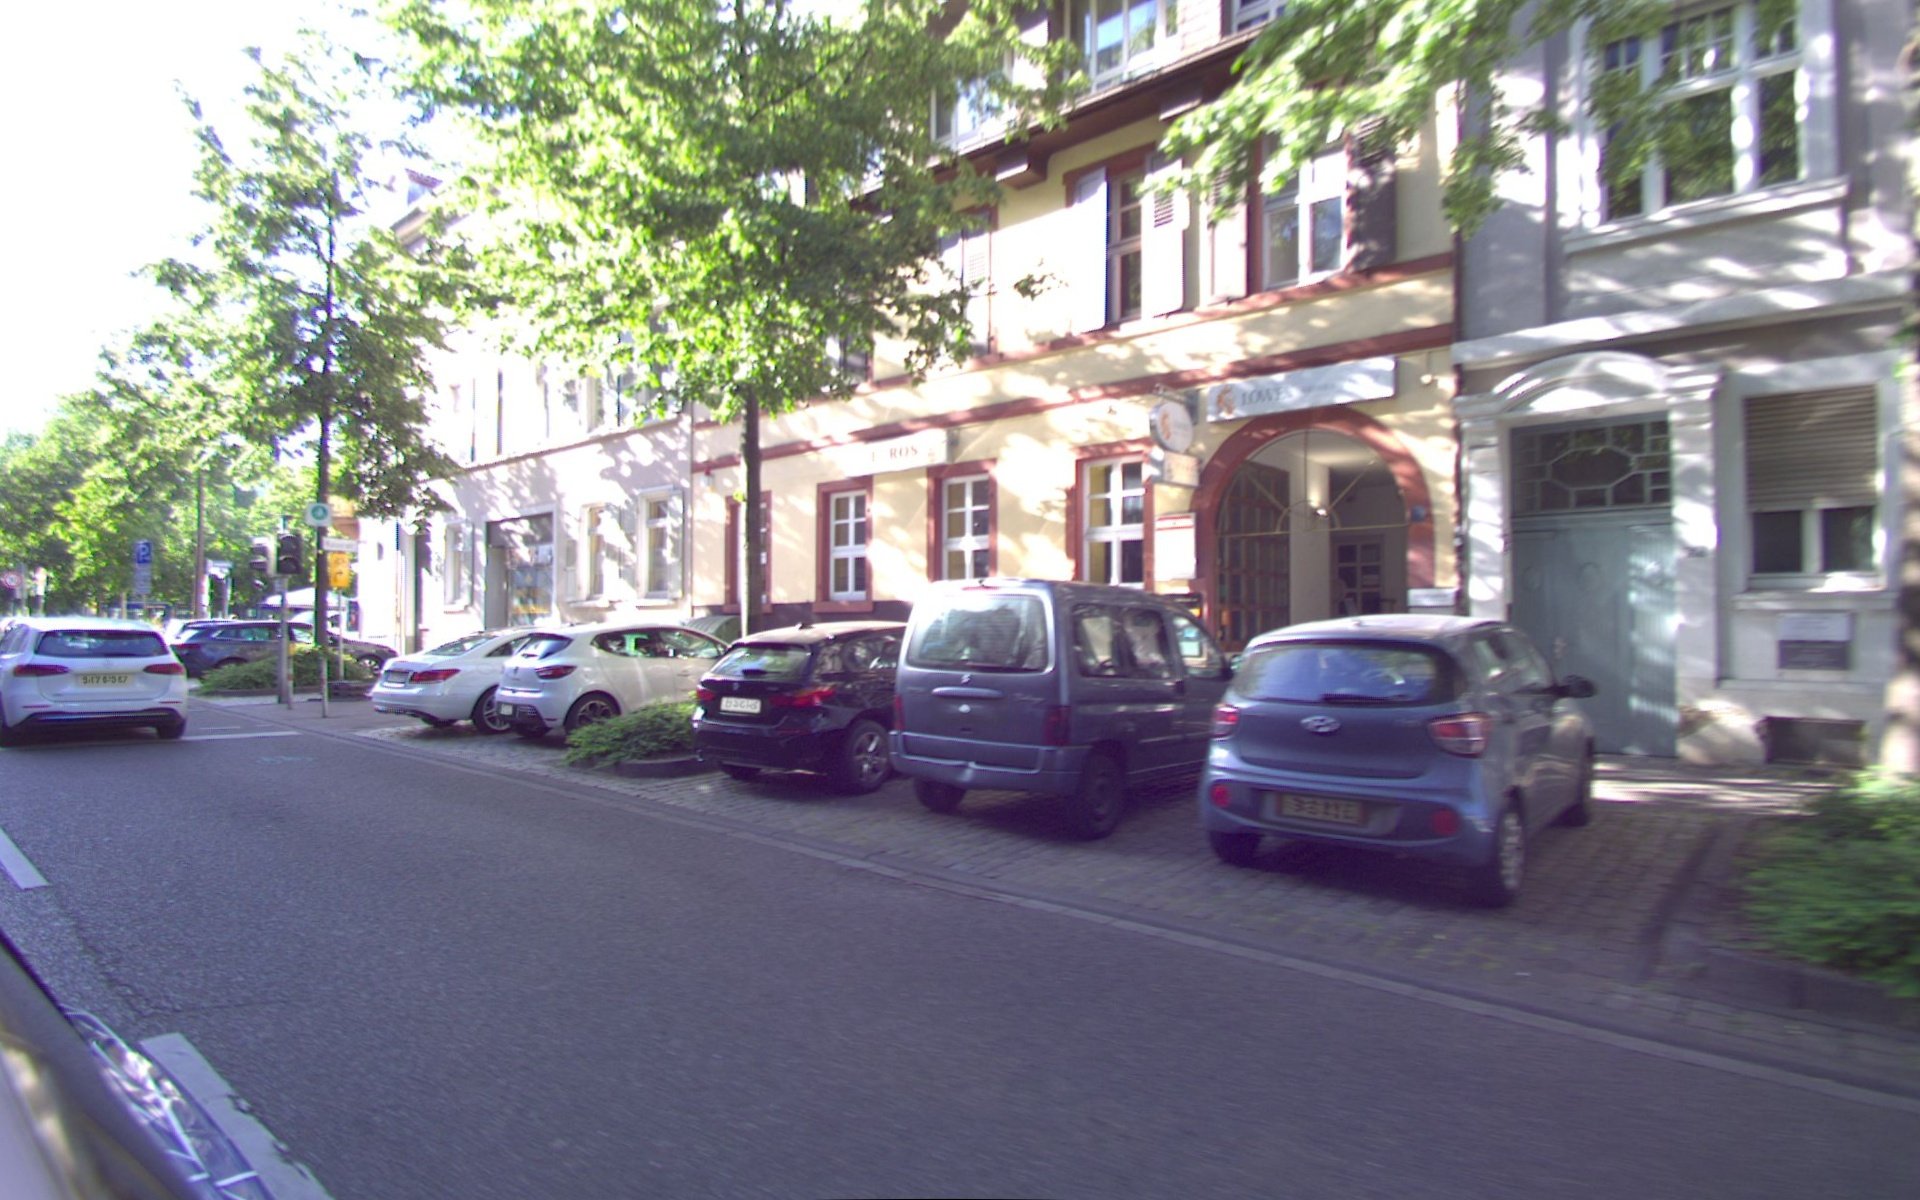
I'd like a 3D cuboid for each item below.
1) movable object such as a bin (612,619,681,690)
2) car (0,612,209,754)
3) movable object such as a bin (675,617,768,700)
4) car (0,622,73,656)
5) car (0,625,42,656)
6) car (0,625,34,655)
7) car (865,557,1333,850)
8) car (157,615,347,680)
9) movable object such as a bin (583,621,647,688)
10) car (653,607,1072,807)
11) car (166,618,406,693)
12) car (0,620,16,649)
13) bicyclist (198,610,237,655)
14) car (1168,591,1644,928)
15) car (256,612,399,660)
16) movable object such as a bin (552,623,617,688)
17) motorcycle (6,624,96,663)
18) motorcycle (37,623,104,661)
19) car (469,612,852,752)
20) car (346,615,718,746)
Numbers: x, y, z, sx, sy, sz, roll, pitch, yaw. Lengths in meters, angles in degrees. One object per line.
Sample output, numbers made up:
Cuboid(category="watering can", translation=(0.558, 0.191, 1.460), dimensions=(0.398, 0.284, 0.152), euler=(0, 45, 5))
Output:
Cuboid(category="movable object such as a bin", translation=(-6.390, 1.082, 20.604), dimensions=(1.346, 1.372, 0.808), euler=(-1, -2, 44))
Cuboid(category="car", translation=(-11.591, 0.980, 13.230), dimensions=(4.351, 1.556, 1.891), euler=(-1, -3, 41))
Cuboid(category="movable object such as a bin", translation=(-4.408, 1.046, 18.715), dimensions=(1.382, 1.456, 1.121), euler=(-1, -2, 44))
Cuboid(category="car", translation=(-45.196, 1.860, 48.272), dimensions=(1.978, 1.574, 3.988), euler=(0, -1, 10))
Cuboid(category="car", translation=(-47.442, 1.974, 49.053), dimensions=(1.978, 1.453, 3.988), euler=(0, -1, 10))
Cuboid(category="car", translation=(-49.783, 2.043, 51.155), dimensions=(1.981, 1.485, 3.981), euler=(-1, -1, 15))
Cuboid(category="car", translation=(1.407, 0.690, 8.627), dimensions=(1.929, 1.838, 4.294), euler=(-1, -2, 41))
Cuboid(category="car", translation=(-19.231, 1.237, 27.608), dimensions=(1.944, 1.652, 3.943), euler=(-1, -2, 43))
Cuboid(category="movable object such as a bin", translation=(-7.350, 1.138, 21.518), dimensions=(1.249, 1.366, 0.820), euler=(-1, -2, 44))
Cuboid(category="car", translation=(-0.734, 0.879, 10.234), dimensions=(1.959, 1.556, 4.303), euler=(-1, -1, 34))
Cuboid(category="car", translation=(-15.458, 1.205, 23.372), dimensions=(1.944, 1.556, 4.292), euler=(-1, -2, 43))
Cuboid(category="car", translation=(-58.181, 2.019, 59.121), dimensions=(1.986, 1.706, 3.971), euler=(-1, -1, 22))
Cuboid(category="bicyclist", translation=(-25.626, 1.111, 34.929), dimensions=(0.661, 1.537, 0.887), euler=(0, -1, 10))
Cuboid(category="car", translation=(3.314, 0.779, 6.970), dimensions=(1.915, 1.556, 4.296), euler=(-1, -2, 39))
Cuboid(category="car", translation=(-27.518, 1.602, 44.291), dimensions=(2.055, 1.959, 5.302), euler=(-1, -3, 15))
Cuboid(category="movable object such as a bin", translation=(-8.302, 1.194, 22.374), dimensions=(1.261, 1.378, 0.899), euler=(-1, -2, 44))
Cuboid(category="motorcycle", translation=(-33.875, 1.608, 37.750), dimensions=(2.282, 1.434, 1.004), euler=(0, -1, -22))
Cuboid(category="motorcycle", translation=(-34.058, 1.603, 38.782), dimensions=(1.724, 1.434, 0.832), euler=(0, -1, -22))
Cuboid(category="car", translation=(-3.866, 0.974, 13.766), dimensions=(1.999, 1.503, 4.650), euler=(-2, -1, 41))
Cuboid(category="car", translation=(-6.018, 1.012, 14.783), dimensions=(1.996, 1.503, 4.657), euler=(0, 0, 36))
